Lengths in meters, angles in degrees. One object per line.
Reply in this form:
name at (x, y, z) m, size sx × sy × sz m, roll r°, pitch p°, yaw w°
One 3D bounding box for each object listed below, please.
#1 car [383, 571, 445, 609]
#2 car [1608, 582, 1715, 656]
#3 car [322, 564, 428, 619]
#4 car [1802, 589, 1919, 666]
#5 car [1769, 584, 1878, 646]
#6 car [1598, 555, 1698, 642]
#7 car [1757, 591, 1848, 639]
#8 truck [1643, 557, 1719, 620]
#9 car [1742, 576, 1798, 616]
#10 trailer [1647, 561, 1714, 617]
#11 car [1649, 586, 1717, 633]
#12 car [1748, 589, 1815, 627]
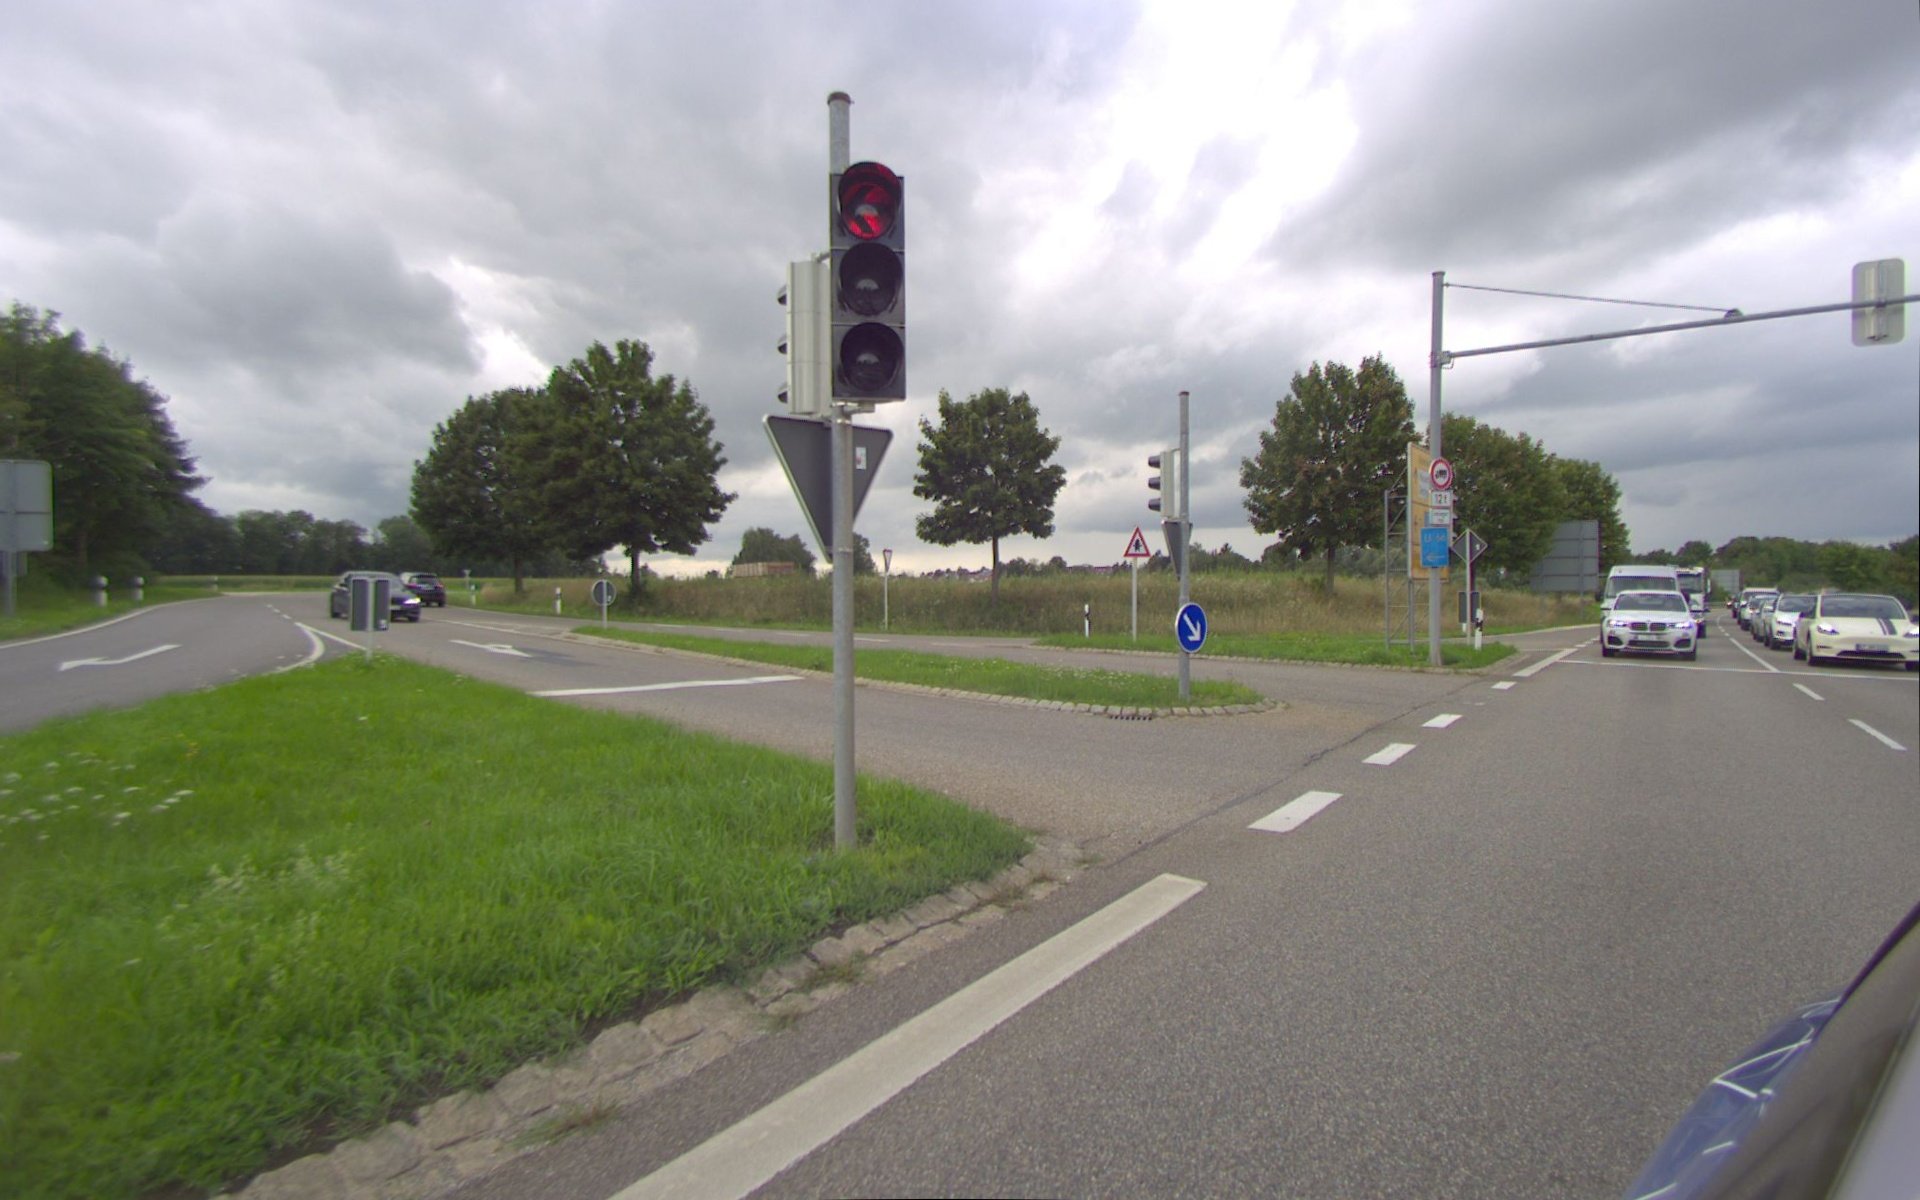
car at (-24.440, -0.449, 45.236) m, size 1.780 × 1.468 × 4.272 m, roll 1°, pitch 3°, yaw -37°
car at (17.226, 0.396, 24.895) m, size 1.987 × 1.649 × 4.221 m, roll 1°, pitch 1°, yaw 35°
car at (-17.635, -0.277, 30.401) m, size 1.965 × 1.522 × 4.661 m, roll 0°, pitch 1°, yaw -40°
car at (20.580, 0.548, 22.884) m, size 1.987 × 1.584 × 4.688 m, roll -1°, pitch 0°, yaw 35°
car at (24.789, 0.385, 29.197) m, size 1.987 × 1.650 × 4.267 m, roll -1°, pitch 0°, yaw 36°
car at (21.695, -0.051, 31.807) m, size 2.384 × 2.472 × 5.441 m, roll -1°, pitch 0°, yaw 36°
car at (28.510, 0.449, 34.377) m, size 1.987 × 1.473 × 4.523 m, roll 1°, pitch 1°, yaw 35°
truck at (38.749, -0.617, 54.468) m, size 3.090 × 3.148 × 7.312 m, roll 1°, pitch 1°, yaw 35°
car at (43.996, -0.240, 55.054) m, size 2.158 × 2.039 × 4.618 m, roll 1°, pitch 1°, yaw 37°
trailer at (43.895, -0.671, 61.751) m, size 3.090 × 3.130 × 10.525 m, roll 1°, pitch 1°, yaw 35°
car at (27.348, 0.320, 38.304) m, size 1.987 × 1.649 × 4.220 m, roll -1°, pitch 0°, yaw 36°
car at (36.888, 0.305, 45.548) m, size 1.987 × 1.612 × 4.391 m, roll 1°, pitch 1°, yaw 35°
